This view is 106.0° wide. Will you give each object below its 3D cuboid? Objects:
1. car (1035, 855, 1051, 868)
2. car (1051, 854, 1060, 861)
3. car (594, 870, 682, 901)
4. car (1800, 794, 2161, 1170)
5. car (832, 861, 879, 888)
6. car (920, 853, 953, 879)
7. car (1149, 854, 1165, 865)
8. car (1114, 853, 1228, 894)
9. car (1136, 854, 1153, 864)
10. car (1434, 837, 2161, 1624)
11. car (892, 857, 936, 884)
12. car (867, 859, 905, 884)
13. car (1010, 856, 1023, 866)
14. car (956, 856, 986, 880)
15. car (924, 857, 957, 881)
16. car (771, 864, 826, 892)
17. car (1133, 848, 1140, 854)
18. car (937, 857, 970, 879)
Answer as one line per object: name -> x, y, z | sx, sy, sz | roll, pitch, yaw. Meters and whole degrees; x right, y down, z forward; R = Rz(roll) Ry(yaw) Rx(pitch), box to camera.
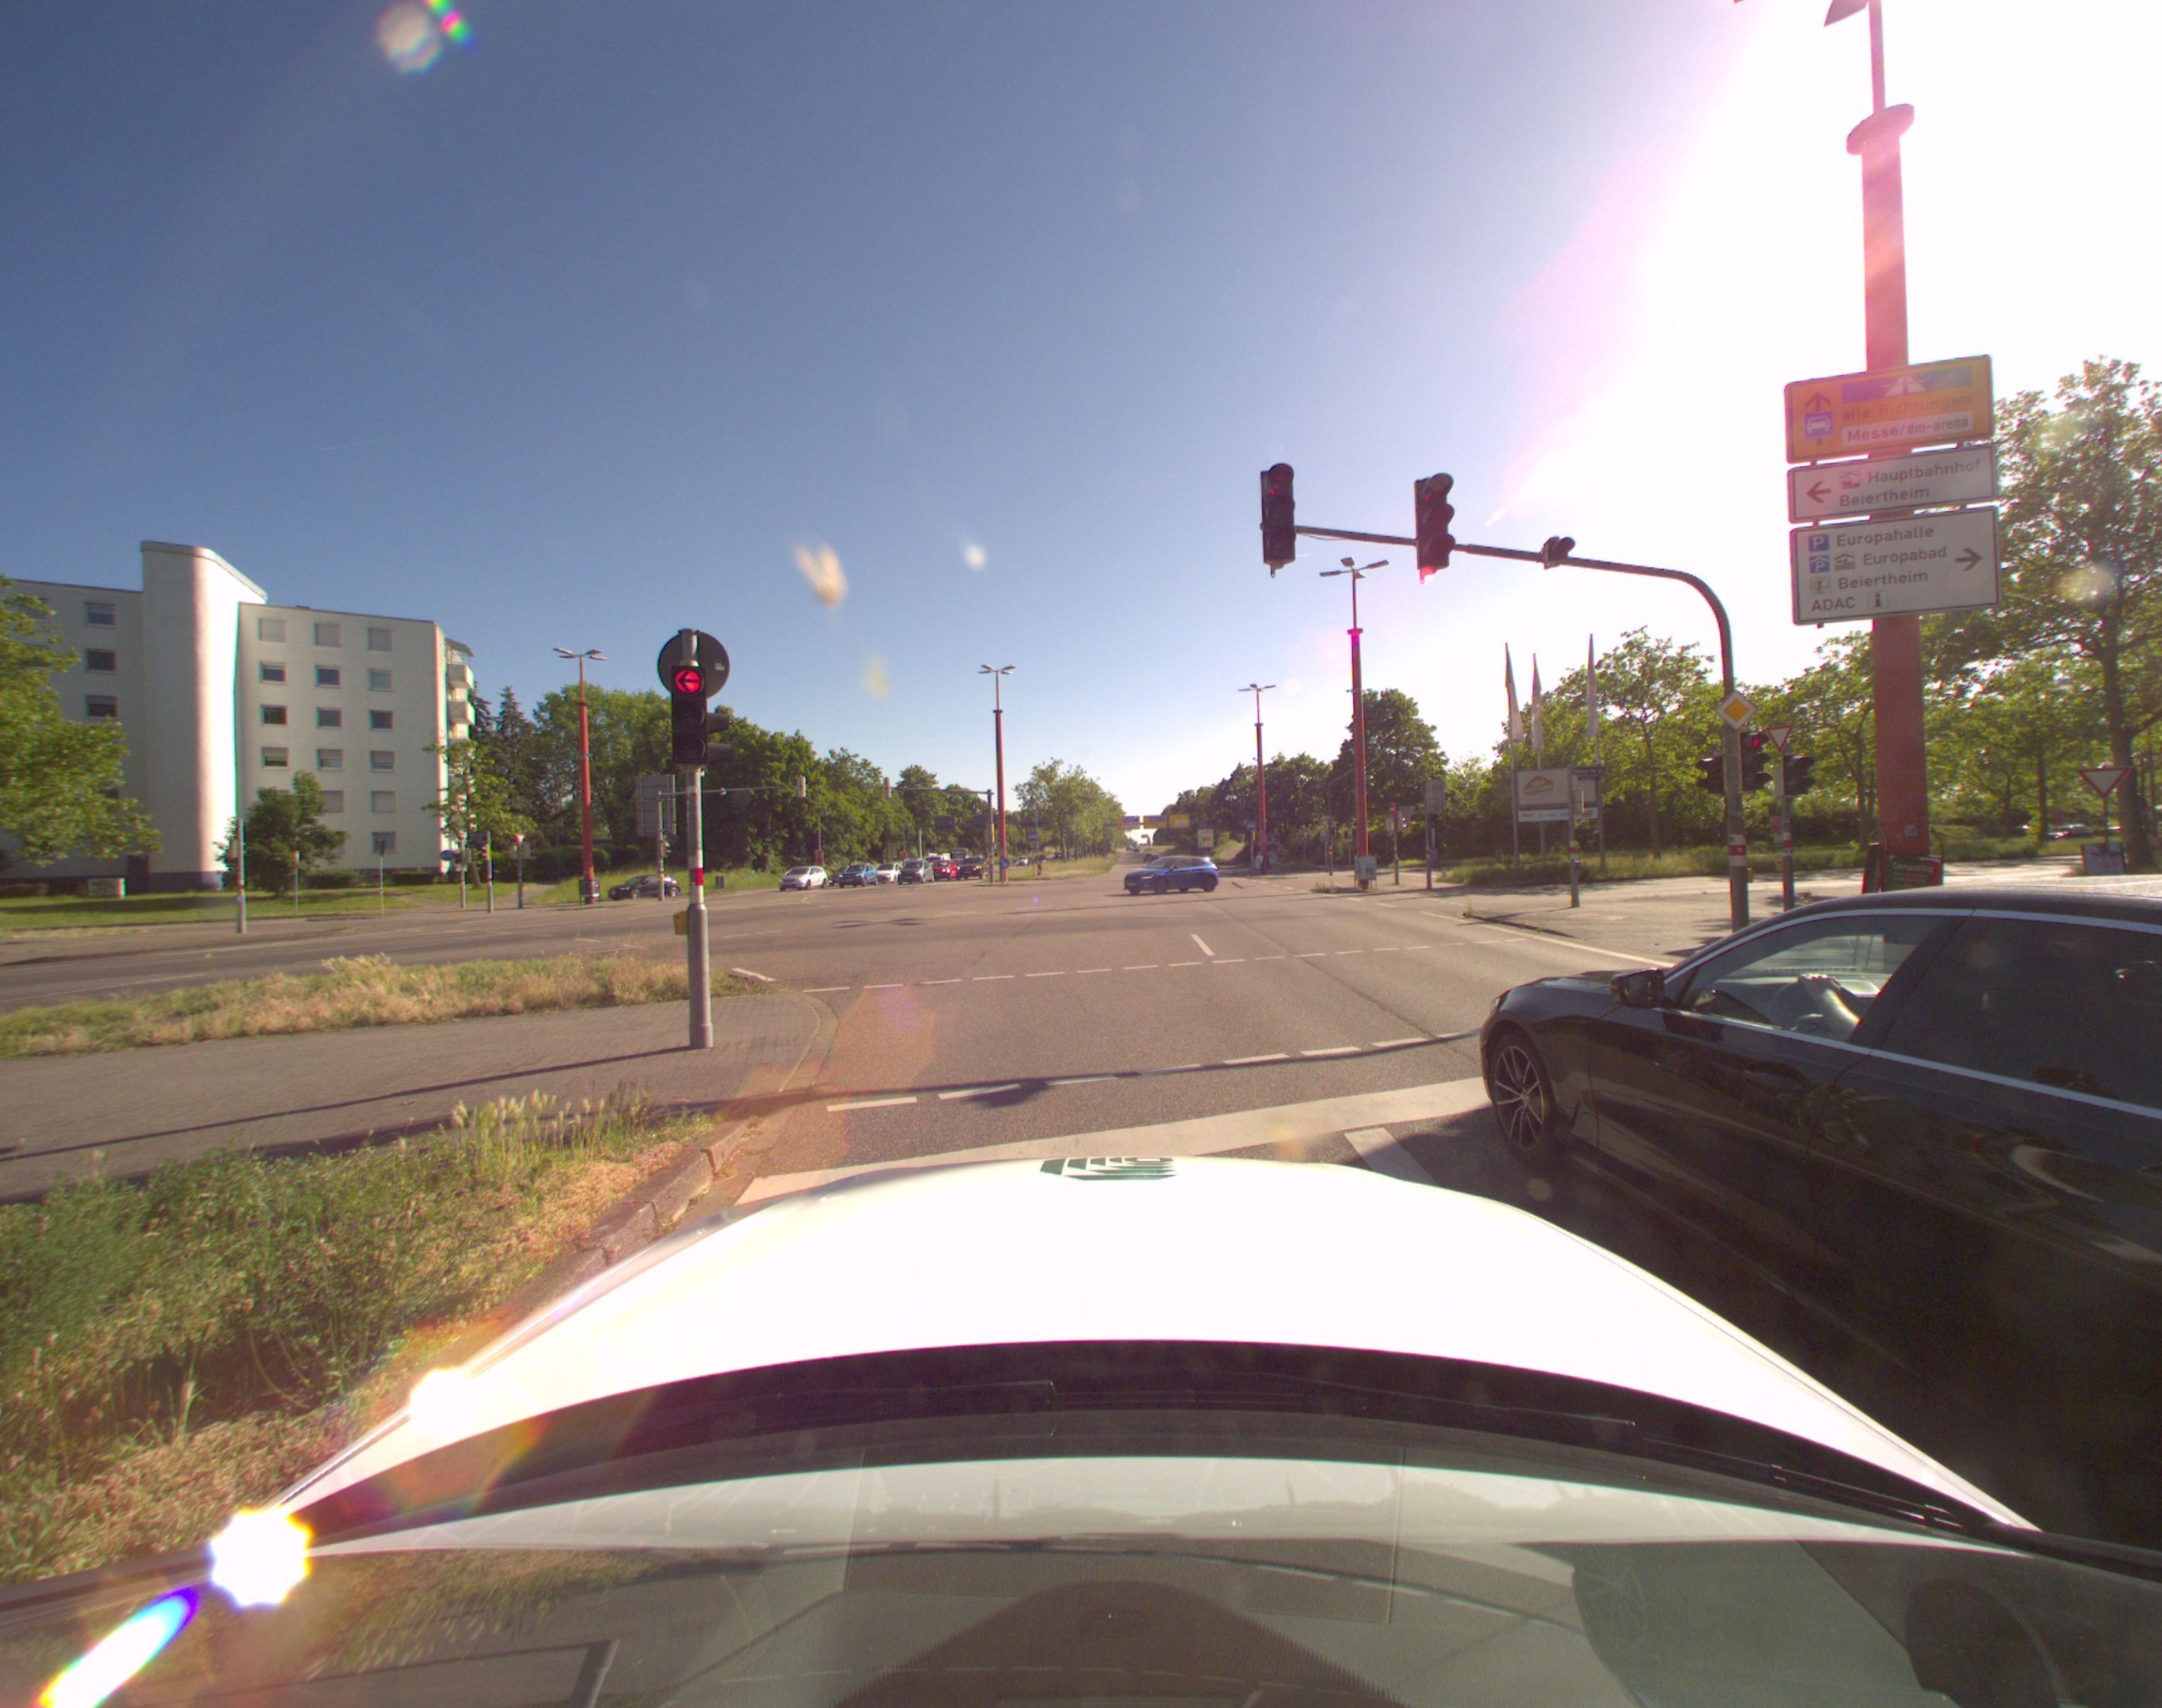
car -> -4.899, 0.924, 105.470 | 1.872, 1.573, 4.117 | -2, 0, -2
car -> -6.094, 0.844, 194.672 | 1.872, 1.573, 4.117 | -2, 0, -2
car -> -25.778, 1.787, 47.600 | 1.977, 1.598, 4.242 | -2, 0, 19
car -> 5.801, 0.560, 3.269 | 1.959, 1.686, 4.479 | -1, 0, 2
car -> -14.232, 1.283, 51.650 | 1.989, 1.573, 4.116 | -2, 0, -3
car -> -12.730, 1.052, 71.995 | 2.055, 2.193, 4.377 | -2, 0, 0
car -> 11.024, 0.789, 118.287 | 2.149, 1.573, 4.286 | -2, 0, 5
car -> 3.596, 0.734, 32.162 | 4.299, 1.428, 1.864 | -2, 0, -35
car -> 10.814, 0.829, 138.842 | 2.154, 1.573, 4.577 | -2, 0, -3
car -> 2.954, 0.665, 2.381 | 1.986, 1.394, 4.479 | -2, 0, 2
car -> -10.729, 1.045, 52.589 | 1.988, 1.573, 4.119 | -2, 0, -1
car -> -13.735, 1.215, 57.532 | 1.991, 1.573, 4.112 | -3, 0, -6
car -> -10.418, 1.166, 131.847 | 1.872, 1.573, 4.117 | -2, 0, -2
car -> -7.562, 0.938, 56.498 | 1.874, 1.573, 4.112 | -2, 0, -6
car -> -10.099, 1.045, 58.880 | 1.991, 1.573, 4.112 | -2, 0, -6
car -> -17.690, 1.466, 51.190 | 1.987, 1.573, 4.120 | -2, 0, 0
car -> 17.332, -0.919, 253.172 | 2.149, 1.573, 4.285 | -2, 0, 4
car -> -10.061, 1.092, 64.662 | 1.988, 1.573, 4.118 | -2, 0, -1
